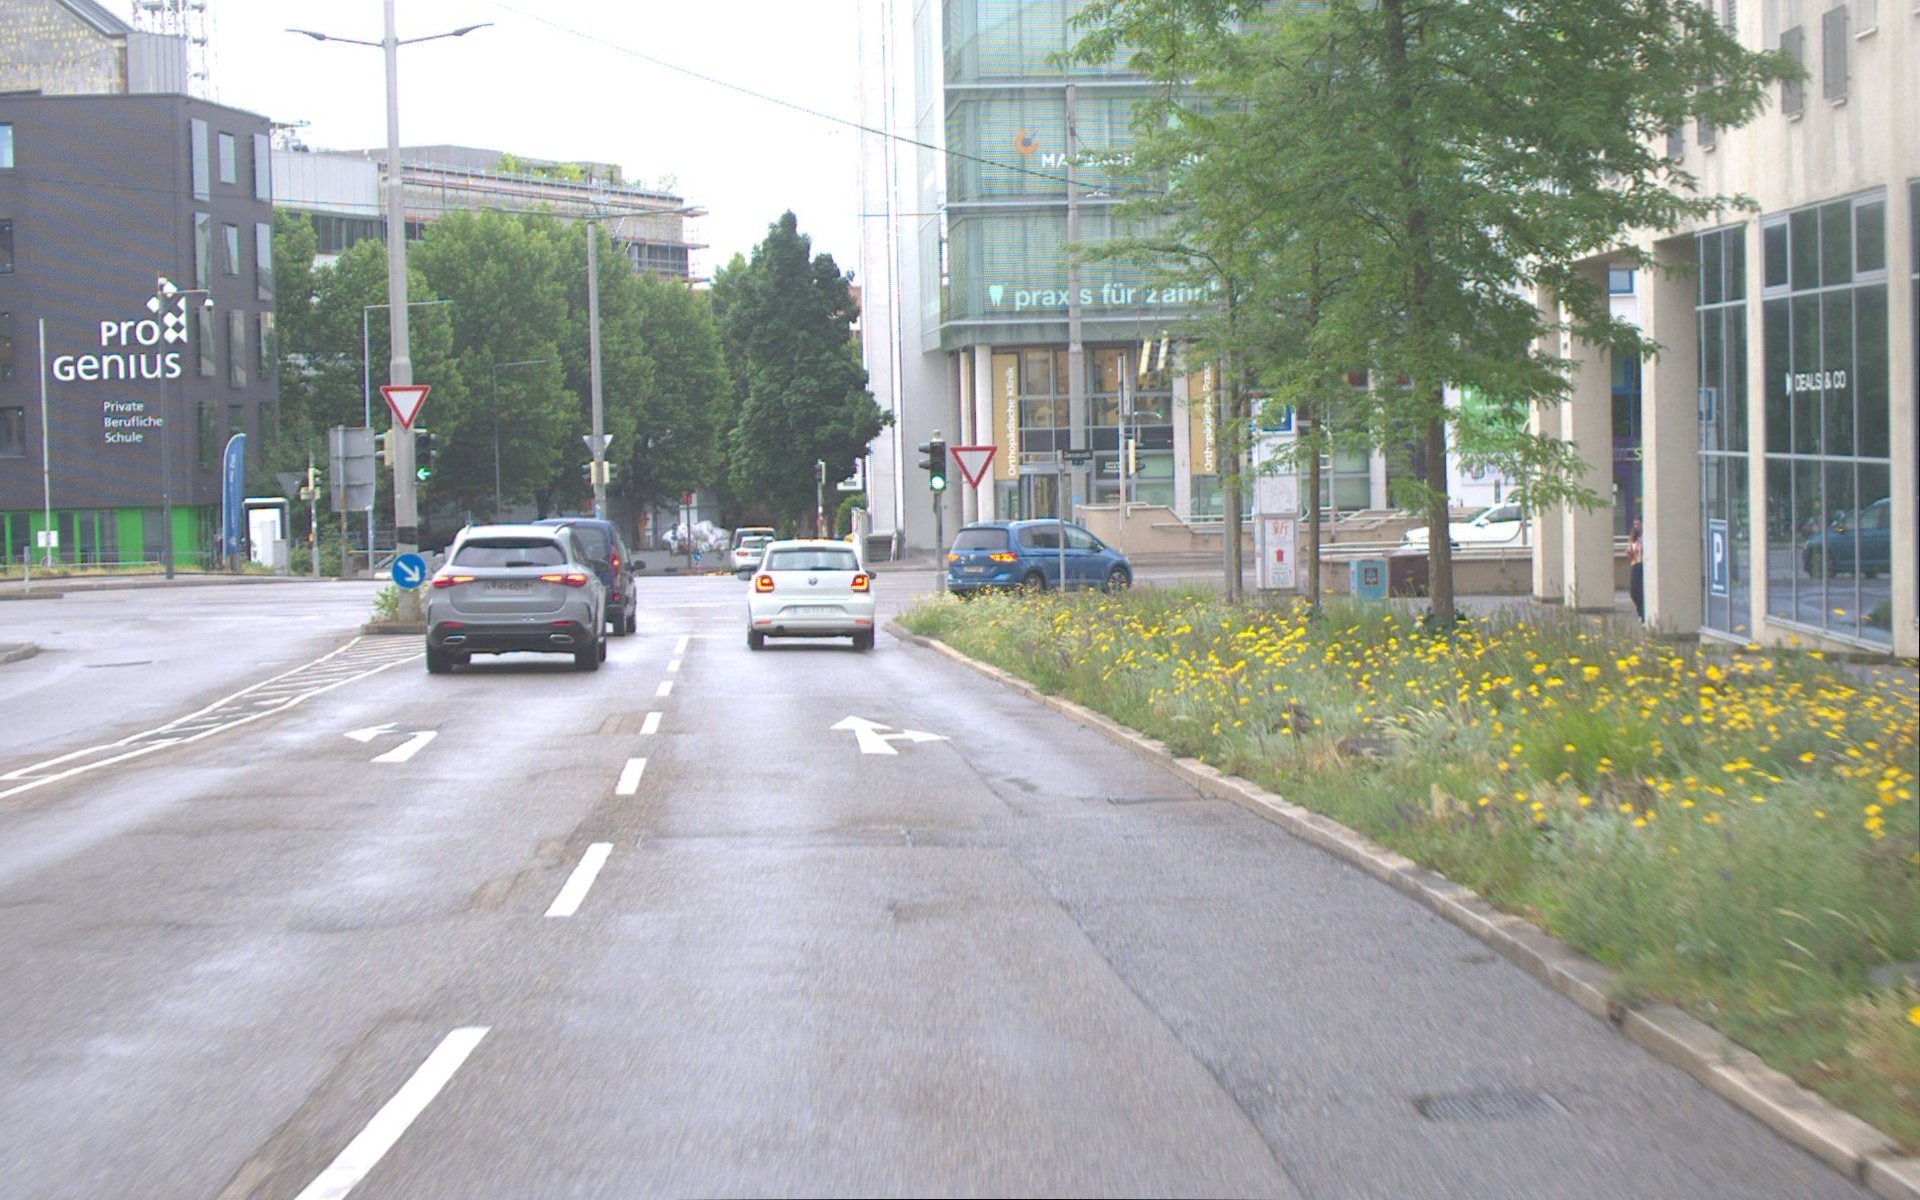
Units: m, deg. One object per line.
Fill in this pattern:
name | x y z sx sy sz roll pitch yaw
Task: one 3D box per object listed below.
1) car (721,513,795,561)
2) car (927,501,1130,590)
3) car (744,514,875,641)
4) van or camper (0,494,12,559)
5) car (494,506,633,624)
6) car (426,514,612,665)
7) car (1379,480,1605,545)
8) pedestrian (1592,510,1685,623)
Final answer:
car | -7.400 -2.290 125.582 1.993 1.711 4.001 0 1 -14
car | 1.390 -1.104 68.095 1.998 1.568 3.992 1 4 38
car | -2.056 -0.341 46.496 1.671 1.468 3.781 -1 4 -3
van or camper | -37.532 -2.686 125.292 5.329 2.360 2.740 0 1 -4
car | -6.314 -0.577 54.419 1.852 1.762 4.132 -2 1 -11
car | -4.970 -0.161 39.190 1.908 1.626 4.211 0 1 -5
car | 12.527 -2.074 81.054 4.946 1.382 1.824 -1 3 -5
pedestrian | 10.479 -0.531 53.085 1.084 1.706 0.875 -1 3 -34
